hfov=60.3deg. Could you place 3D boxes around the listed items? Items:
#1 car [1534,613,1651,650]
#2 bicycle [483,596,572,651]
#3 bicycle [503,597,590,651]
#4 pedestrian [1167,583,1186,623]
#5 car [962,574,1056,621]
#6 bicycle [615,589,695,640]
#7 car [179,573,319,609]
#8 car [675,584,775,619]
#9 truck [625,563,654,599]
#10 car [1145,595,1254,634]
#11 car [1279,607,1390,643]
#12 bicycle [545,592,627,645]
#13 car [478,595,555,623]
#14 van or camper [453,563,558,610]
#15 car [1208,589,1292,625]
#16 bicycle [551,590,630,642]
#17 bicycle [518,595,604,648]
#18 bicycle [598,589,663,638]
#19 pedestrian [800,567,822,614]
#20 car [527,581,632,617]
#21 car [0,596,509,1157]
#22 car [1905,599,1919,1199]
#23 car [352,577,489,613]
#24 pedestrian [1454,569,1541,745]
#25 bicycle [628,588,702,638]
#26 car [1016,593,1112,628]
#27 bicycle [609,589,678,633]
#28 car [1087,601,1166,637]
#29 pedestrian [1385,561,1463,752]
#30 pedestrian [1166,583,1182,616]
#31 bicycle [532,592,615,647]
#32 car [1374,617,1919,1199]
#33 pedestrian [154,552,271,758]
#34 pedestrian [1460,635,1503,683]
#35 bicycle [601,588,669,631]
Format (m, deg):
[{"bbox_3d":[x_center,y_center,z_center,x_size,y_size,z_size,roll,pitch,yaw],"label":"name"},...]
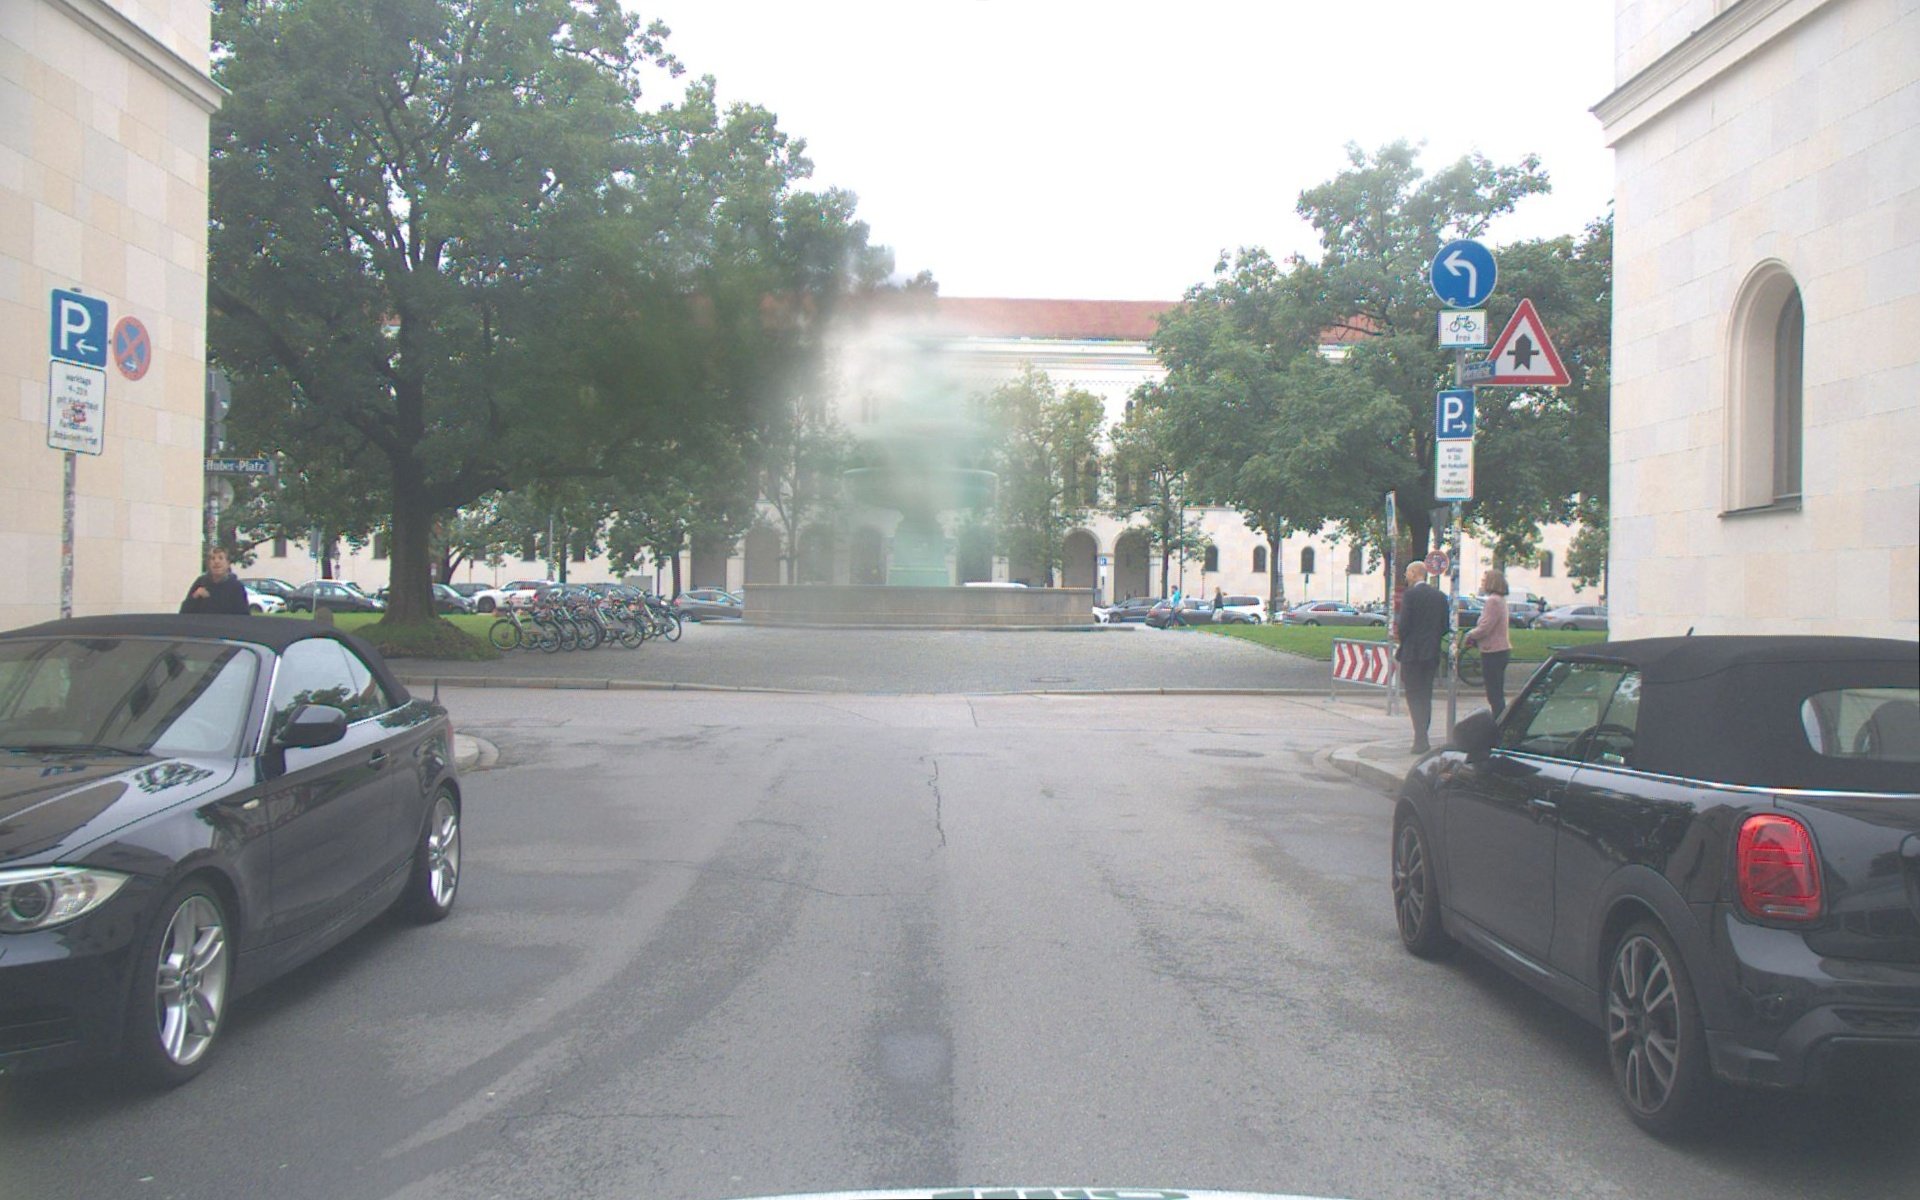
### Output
[{"bbox_3d":[26.646,1.319,69.785,4.268,1.443,1.804,1,1,0],"label":"car"},{"bbox_3d":[-8.759,0.470,33.500,1.584,1.054,0.699,2,0,10],"label":"bicycle"},{"bbox_3d":[-8.579,0.490,34.330,1.584,1.054,0.699,2,0,10],"label":"bicycle"},{"bbox_3d":[8.106,0.115,61.966,0.570,1.491,0.548,1,0,22],"label":"pedestrian"},{"bbox_3d":[2.282,-0.144,76.544,4.236,2.049,1.824,1,1,2],"label":"car"},{"bbox_3d":[-7.068,0.321,38.385,1.673,1.118,0.699,2,0,10],"label":"bicycle"},{"bbox_3d":[-29.136,-0.376,67.859,4.869,1.400,1.999,0,0,-3],"label":"car"},{"bbox_3d":[-9.706,0.061,68.598,3.907,1.400,1.999,1,1,-3],"label":"car"},{"bbox_3d":[-23.766,-1.434,122.690,1.959,2.532,3.988,1,1,-12],"label":"truck"},{"bbox_3d":[9.975,0.599,69.044,4.268,1.551,1.804,1,1,0],"label":"car"},{"bbox_3d":[15.683,1.042,69.372,4.268,1.443,1.804,1,1,0],"label":"car"},{"bbox_3d":[-8.262,0.403,36.541,1.584,1.118,0.699,2,0,10],"label":"bicycle"},{"bbox_3d":[-23.124,0.473,86.326,3.598,1.400,1.602,1,1,-3],"label":"car"},{"bbox_3d":[-21.675,-0.653,79.028,4.489,2.049,1.998,-2,-1,-4],"label":"van or camper"},{"bbox_3d":[15.331,0.357,87.515,4.017,1.771,1.745,1,1,-5],"label":"car"},{"bbox_3d":[-8.372,0.355,37.504,1.584,1.118,0.699,2,0,10],"label":"bicycle"},{"bbox_3d":[-8.455,0.446,35.069,1.584,1.054,0.699,2,0,10],"label":"bicycle"},{"bbox_3d":[-7.967,0.323,39.954,1.371,1.118,0.657,1,0,10],"label":"bicycle"},{"bbox_3d":[-5.315,-0.327,59.165,0.735,1.668,0.710,1,0,-2],"label":"pedestrian"},{"bbox_3d":[-15.656,-0.053,68.227,3.907,1.400,1.999,1,1,-3],"label":"car"},{"bbox_3d":[-3.091,0.719,6.282,1.664,1.417,4.210,-1,0,-1],"label":"car"},{"bbox_3d":[2.988,0.774,1.467,1.753,1.502,4.312,0,1,-2],"label":"car"},{"bbox_3d":[-22.264,-0.215,68.393,4.972,1.400,1.999,1,1,-3],"label":"car"},{"bbox_3d":[5.357,0.555,16.500,0.608,1.711,0.545,2,0,-8],"label":"pedestrian"},{"bbox_3d":[-6.953,0.308,39.059,1.584,1.118,0.617,2,0,10],"label":"bicycle"},{"bbox_3d":[4.314,0.436,69.037,3.905,1.427,1.825,0,0,1],"label":"car"},{"bbox_3d":[-7.832,0.270,40.939,1.503,1.037,0.699,2,0,10],"label":"bicycle"},{"bbox_3d":[8.771,0.981,87.394,3.907,1.780,1.807,1,1,-3],"label":"car"},{"bbox_3d":[4.559,0.546,16.259,0.628,1.839,0.489,1,0,4],"label":"pedestrian"},{"bbox_3d":[8.115,-0.037,62.664,0.434,1.235,0.535,1,0,25],"label":"pedestrian"},{"bbox_3d":[-8.356,0.413,35.797,1.584,1.118,0.699,2,0,10],"label":"bicycle"},{"bbox_3d":[2.780,0.818,6.105,1.509,1.451,3.771,1,0,-1],"label":"car"},{"bbox_3d":[-6.611,0.467,14.652,0.739,1.780,0.689,0,0,-3],"label":"pedestrian"},{"bbox_3d":[8.943,1.010,28.362,0.557,0.776,0.567,1,0,3],"label":"pedestrian"},{"bbox_3d":[-8.200,0.239,41.726,1.503,1.037,0.699,2,0,10],"label":"bicycle"}]
